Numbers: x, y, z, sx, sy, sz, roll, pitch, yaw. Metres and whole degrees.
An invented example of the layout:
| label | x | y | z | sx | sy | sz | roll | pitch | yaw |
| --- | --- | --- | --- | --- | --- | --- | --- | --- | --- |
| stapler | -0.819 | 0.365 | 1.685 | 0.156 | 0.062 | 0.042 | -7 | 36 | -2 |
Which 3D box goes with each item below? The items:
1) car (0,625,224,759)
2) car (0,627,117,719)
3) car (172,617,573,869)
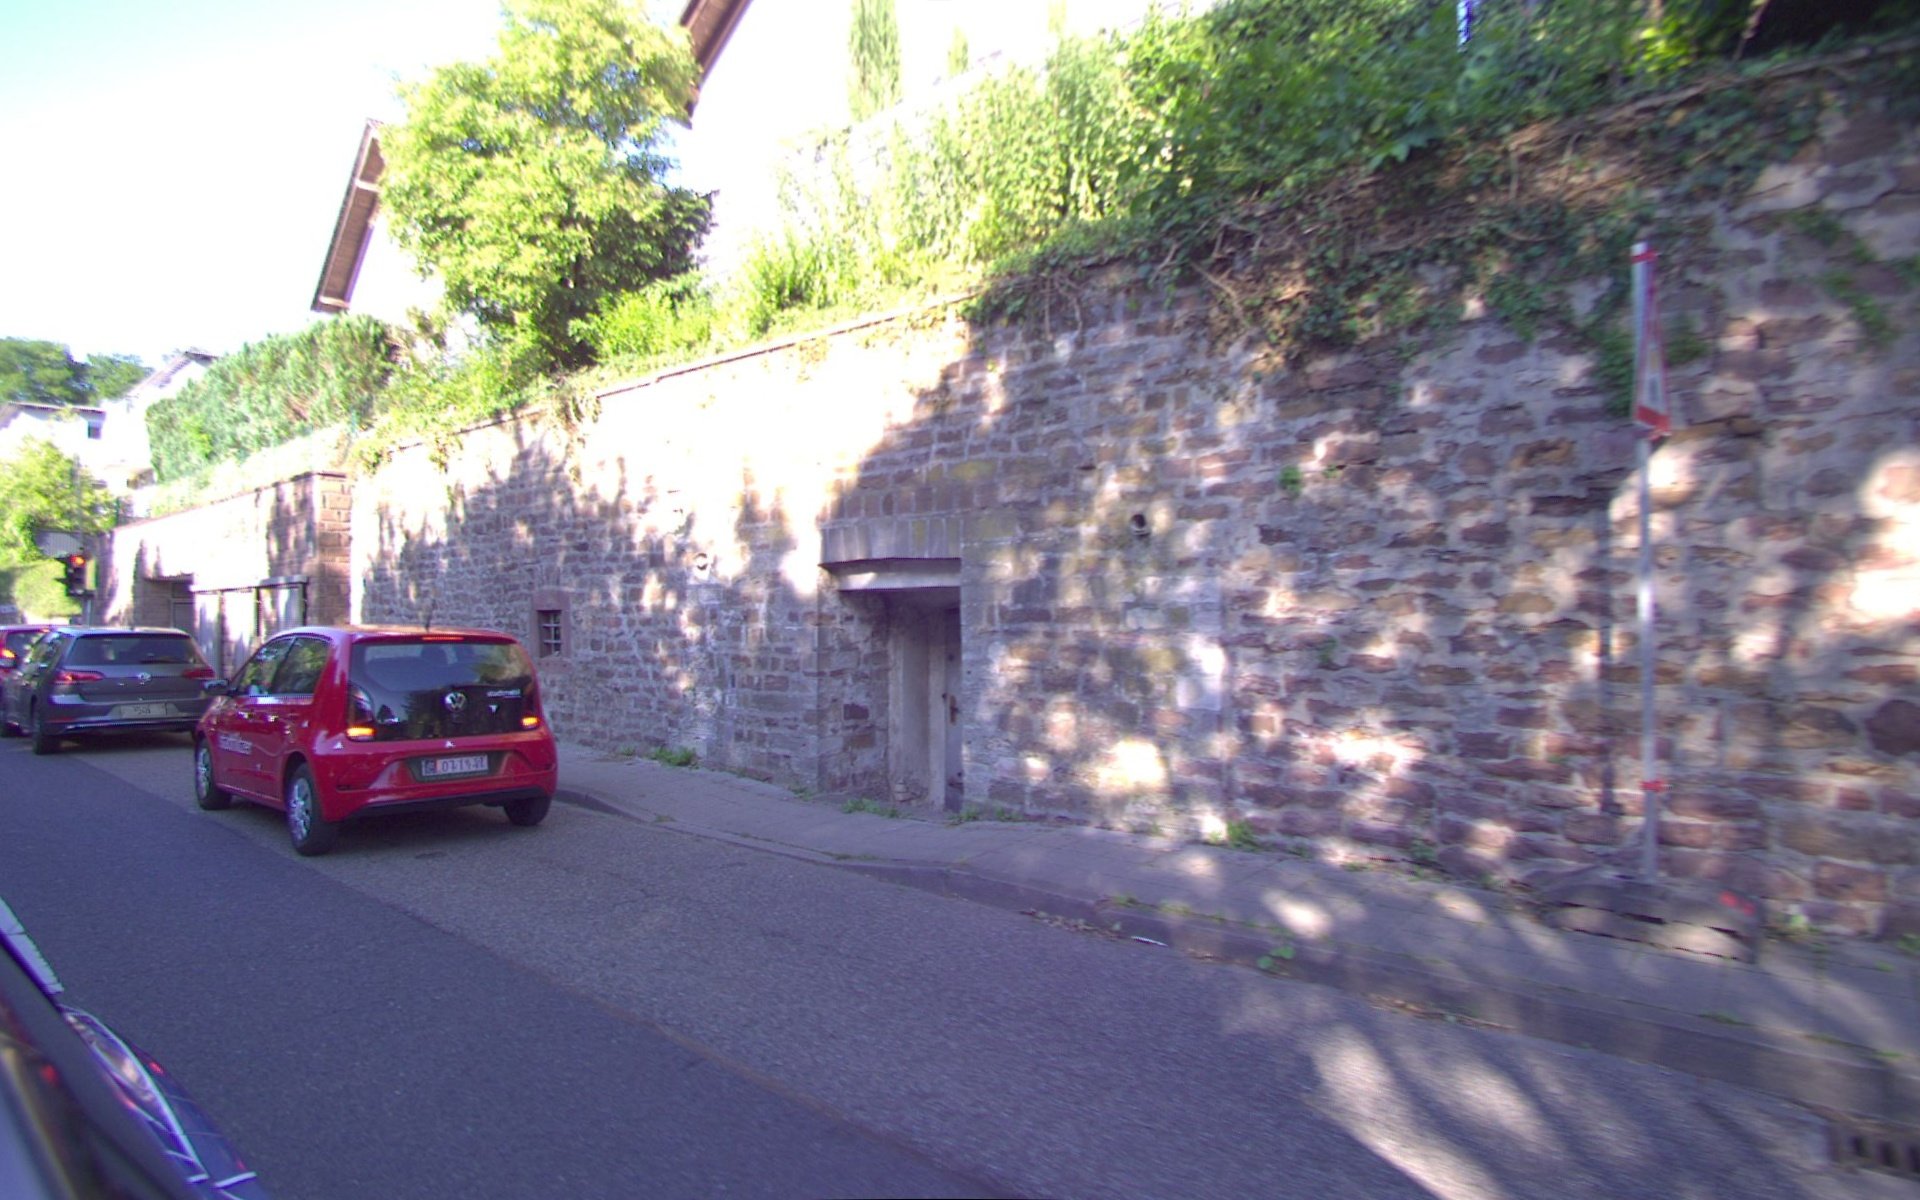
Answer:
| label | x | y | z | sx | sy | sz | roll | pitch | yaw |
| --- | --- | --- | --- | --- | --- | --- | --- | --- | --- |
| car | -10.792 | 1.029 | 12.661 | 3.927 | 1.422 | 1.632 | -1 | -2 | 40 |
| car | -15.911 | 1.182 | 17.290 | 3.558 | 1.433 | 1.611 | -1 | -2 | 39 |
| car | -4.589 | 0.907 | 7.718 | 3.566 | 1.477 | 1.534 | -1 | -3 | 41 |
